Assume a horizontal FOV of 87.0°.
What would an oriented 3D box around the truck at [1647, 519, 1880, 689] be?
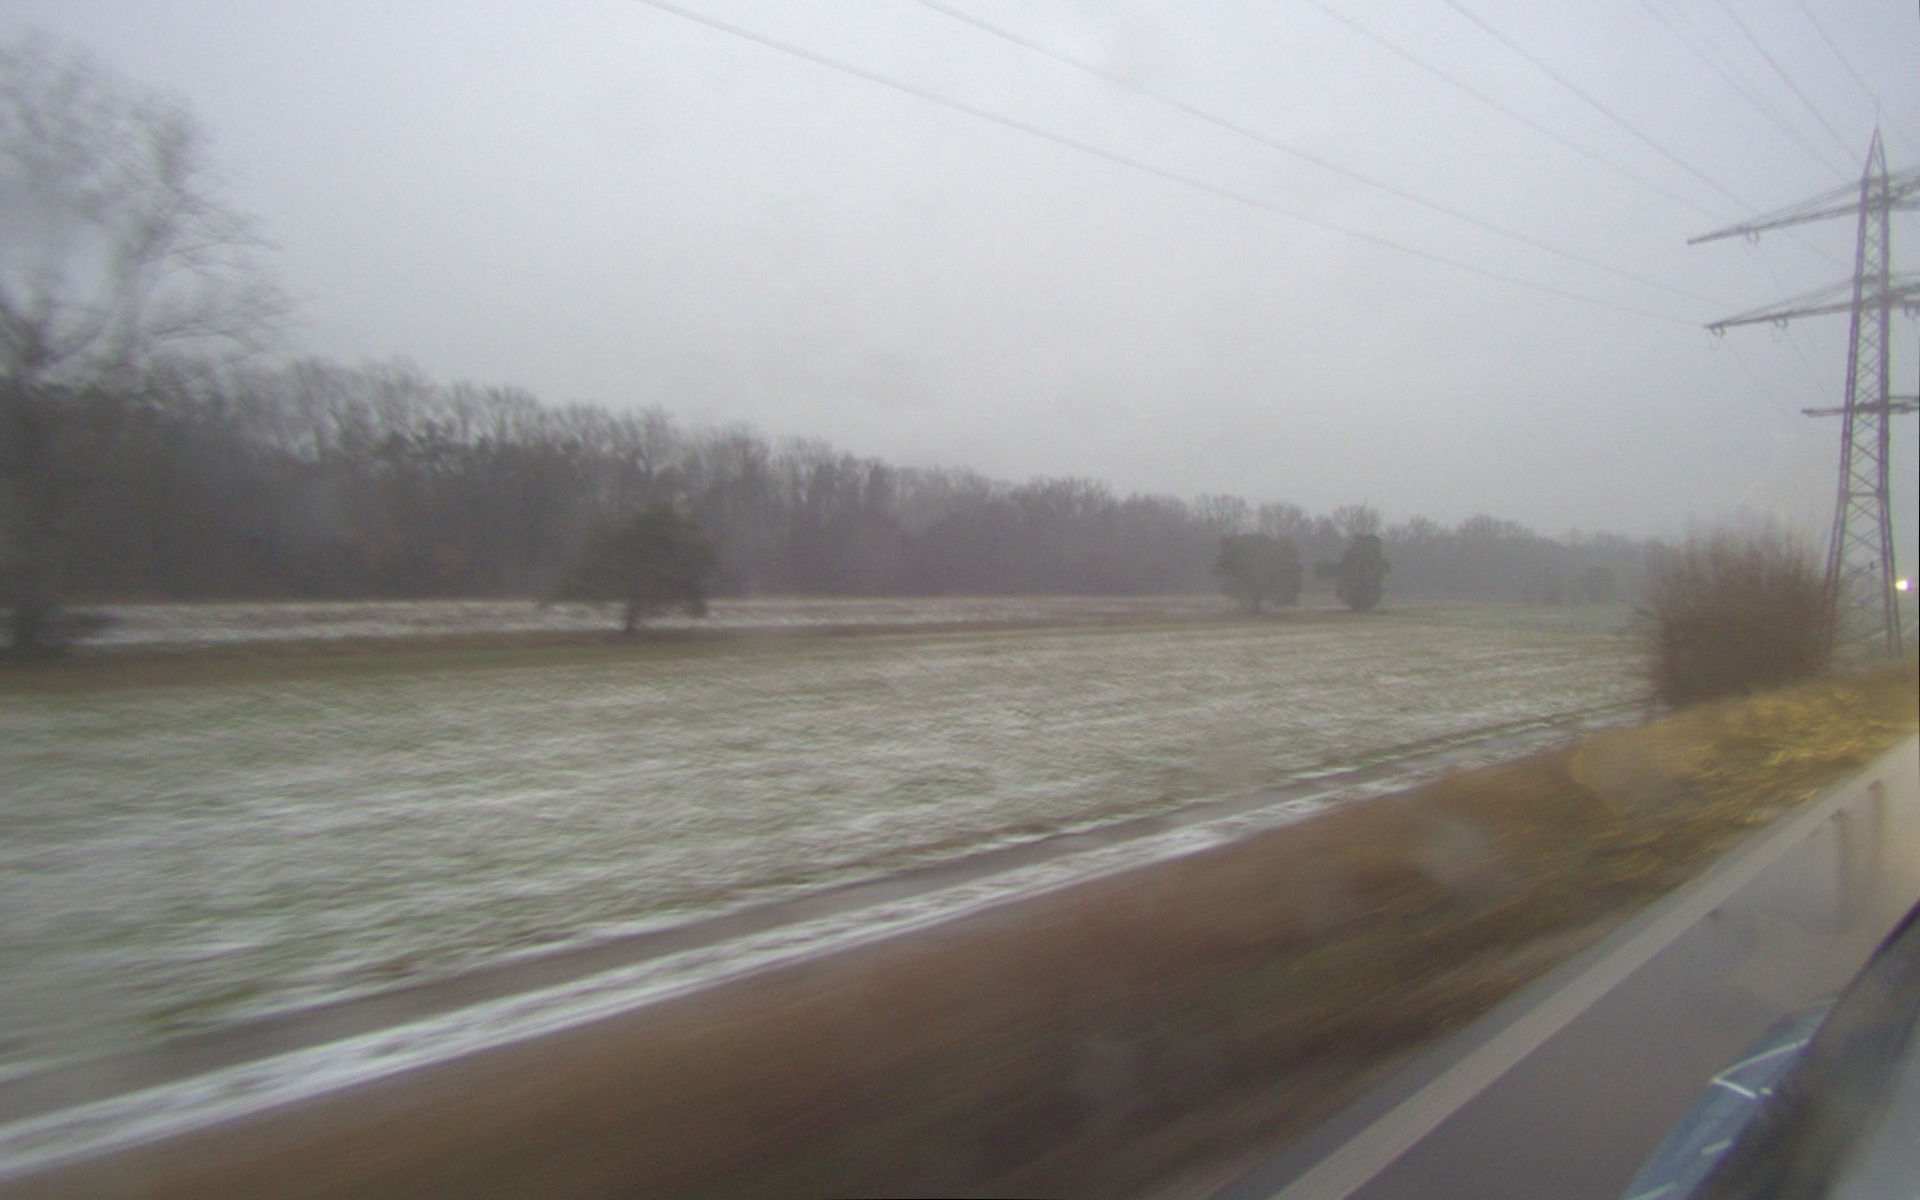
[{"bbox_3d":[17.244,0.030,21.503,7.721,3.015,2.538,-1,0,-41],"label":"truck"}]
